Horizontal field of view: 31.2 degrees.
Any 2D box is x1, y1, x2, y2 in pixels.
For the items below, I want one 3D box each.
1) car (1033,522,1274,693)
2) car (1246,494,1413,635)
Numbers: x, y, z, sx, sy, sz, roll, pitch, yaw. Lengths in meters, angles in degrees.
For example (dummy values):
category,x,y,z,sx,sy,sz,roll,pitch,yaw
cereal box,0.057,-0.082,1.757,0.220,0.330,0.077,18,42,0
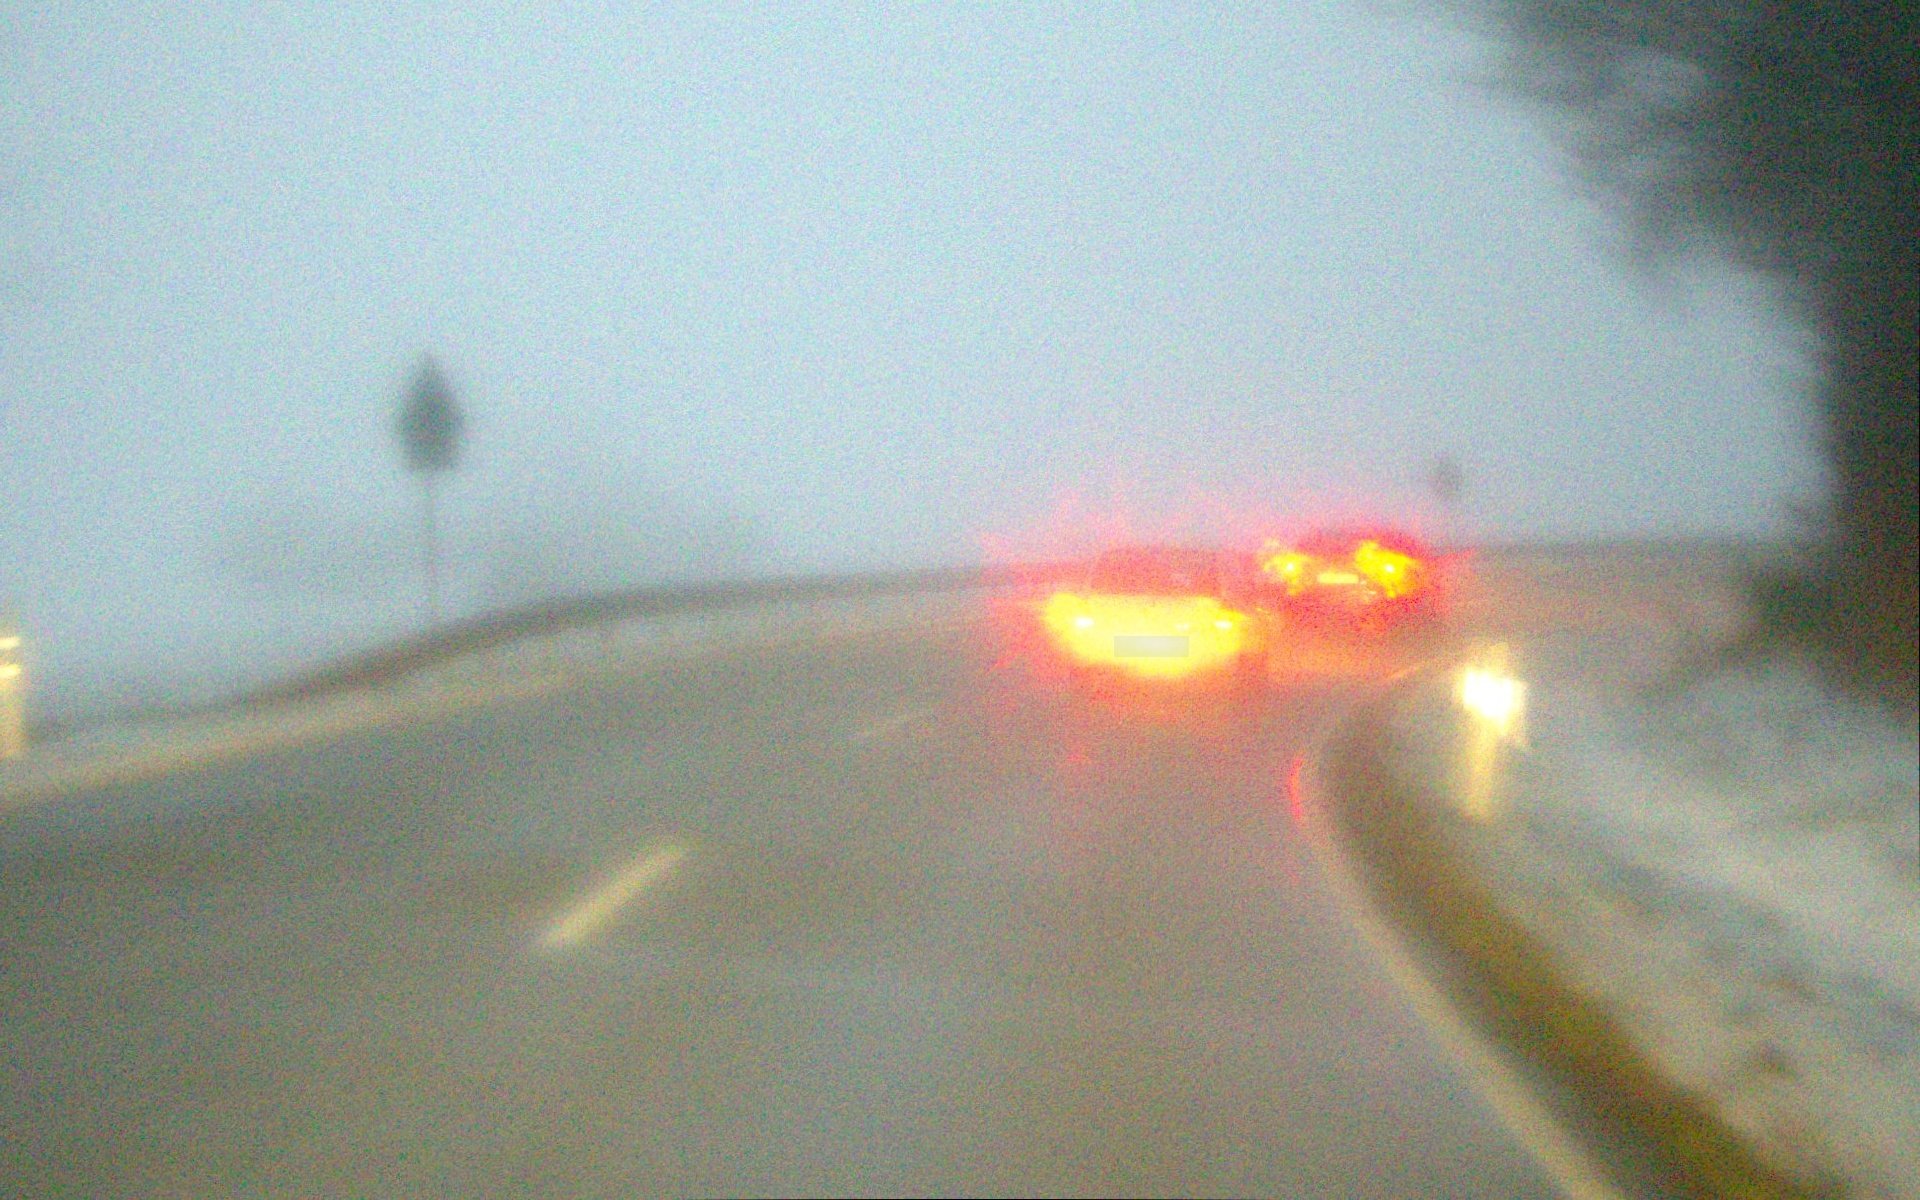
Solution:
category,x,y,z,sx,sy,sz,roll,pitch,yaw
car,1.888,0.028,32.376,1.946,1.376,3.999,-1,2,8
car,4.957,-0.509,45.701,1.994,1.776,3.999,0,2,9
